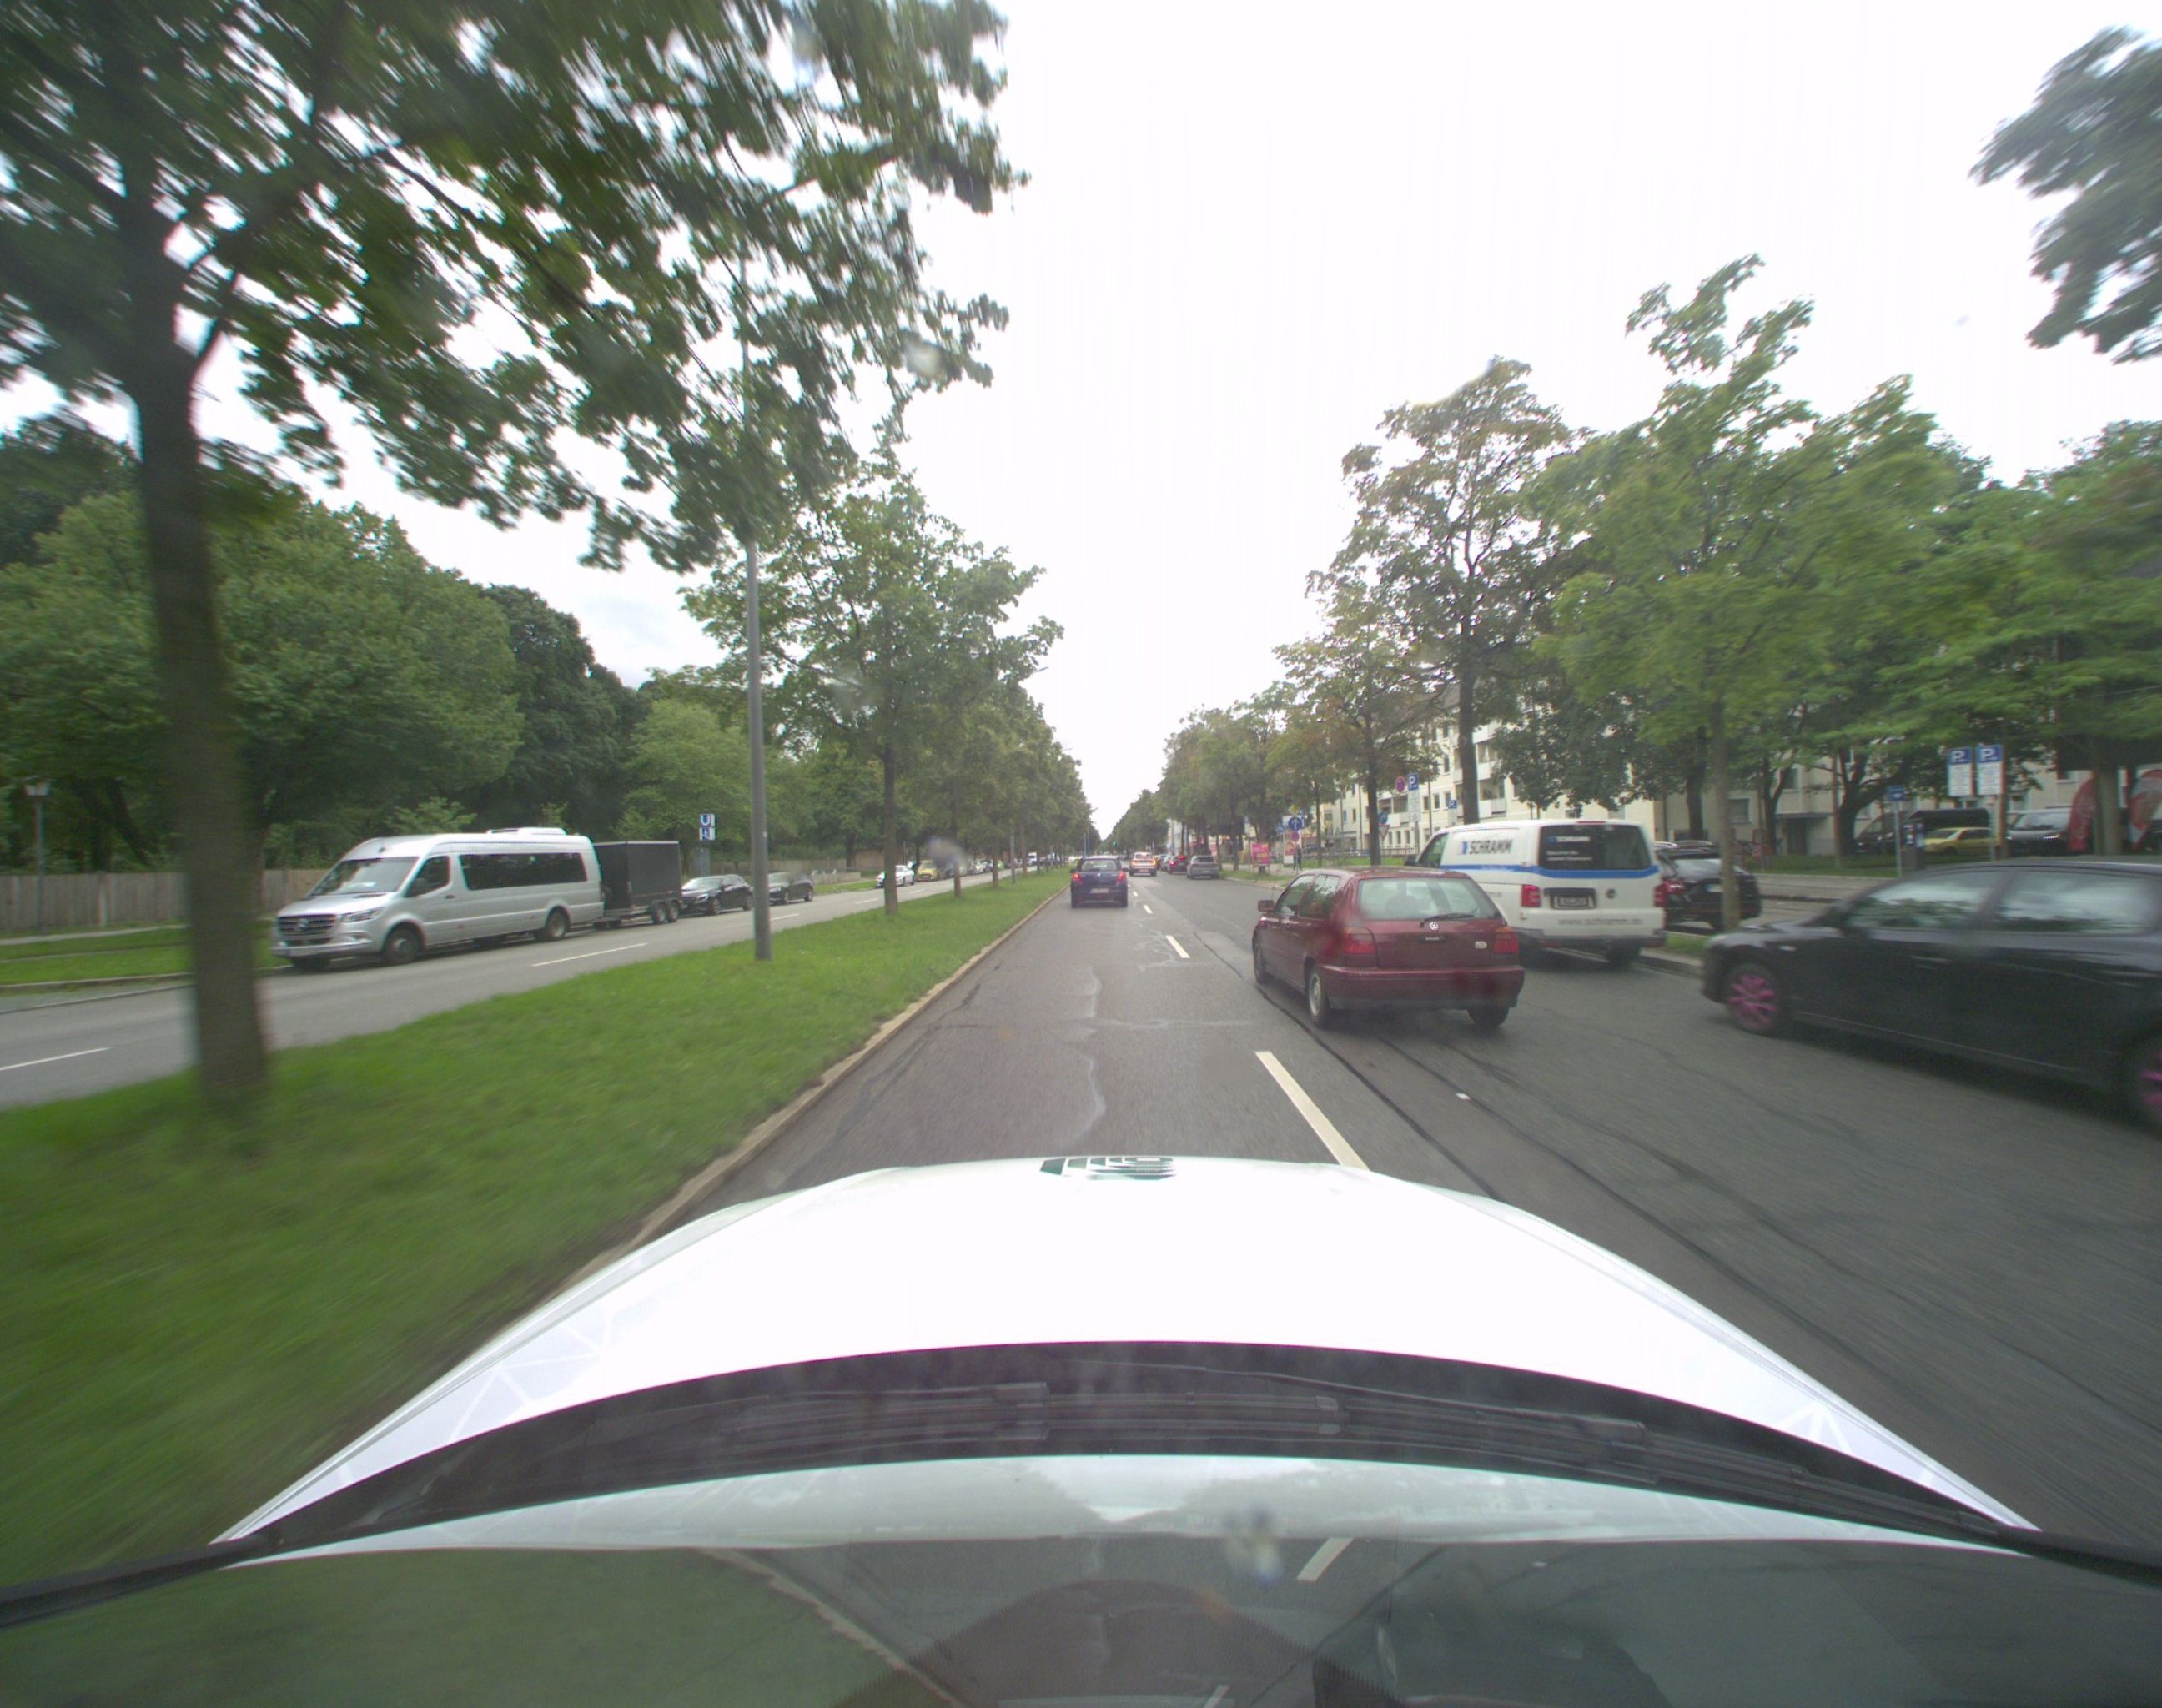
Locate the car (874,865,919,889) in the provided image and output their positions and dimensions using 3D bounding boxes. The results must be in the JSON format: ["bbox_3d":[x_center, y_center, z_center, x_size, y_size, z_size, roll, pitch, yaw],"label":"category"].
[{"bbox_3d":[-12.991,1.570,57.617,1.850,1.472,4.876,-3,0,1],"label":"car"}]

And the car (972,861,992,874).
[{"bbox_3d":[-11.785,1.612,97.227,1.584,1.397,3.633,-3,0,3],"label":"car"}]

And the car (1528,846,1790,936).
[{"bbox_3d":[10.586,0.600,15.452,1.721,1.432,4.693,0,0,1],"label":"car"}]

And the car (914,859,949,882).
[{"bbox_3d":[-12.512,1.343,68.414,1.807,1.783,4.821,-3,0,3],"label":"car"}]

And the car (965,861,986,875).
[{"bbox_3d":[-11.911,1.590,92.168,1.601,1.444,4.281,-3,0,2],"label":"car"}]

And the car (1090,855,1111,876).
[{"bbox_3d":[1.431,0.856,60.557,1.439,1.483,3.106,-1,0,1],"label":"car"}]

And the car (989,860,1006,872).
[{"bbox_3d":[-11.412,1.611,111.348,1.541,1.409,3.883,-3,0,4],"label":"car"}]

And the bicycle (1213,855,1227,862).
[{"bbox_3d":[20.494,0.651,120.069,1.841,0.957,0.557,-1,-1,0],"label":"bicycle"}]

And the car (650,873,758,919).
[{"bbox_3d":[-13.750,1.492,30.011,1.793,1.384,4.240,-3,0,2],"label":"car"}]

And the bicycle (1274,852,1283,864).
[{"bbox_3d":[18.673,0.363,76.931,0.429,1.028,1.885,-3,0,3],"label":"bicycle"}]

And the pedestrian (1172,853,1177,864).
[{"bbox_3d":[17.518,0.857,152.861,0.791,2.013,1.006,-2,0,2],"label":"pedestrian"}]

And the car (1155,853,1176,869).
[{"bbox_3d":[8.337,0.672,80.566,1.710,1.533,4.277,0,0,2],"label":"car"}]

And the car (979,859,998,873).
[{"bbox_3d":[-11.655,1.498,103.016,1.685,1.586,4.371,-3,0,1],"label":"car"}]

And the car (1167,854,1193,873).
[{"bbox_3d":[7.761,0.722,64.115,1.743,1.465,4.179,0,0,3],"label":"car"}]

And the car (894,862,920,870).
[{"bbox_3d":[-34.297,2.394,160.519,4.673,1.445,1.673,-1,-1,2],"label":"car"}]

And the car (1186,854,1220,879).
[{"bbox_3d":[7.505,0.731,50.374,1.675,1.465,4.118,0,0,3],"label":"car"}]

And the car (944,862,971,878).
[{"bbox_3d":[-12.247,1.553,81.046,1.756,1.449,4.534,-3,0,1],"label":"car"}]

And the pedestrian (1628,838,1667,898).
[{"bbox_3d":[15.375,0.370,22.110,0.651,1.594,0.758,-2,0,20],"label":"pedestrian"}]

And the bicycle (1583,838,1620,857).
[{"bbox_3d":[28.171,-0.335,44.086,1.687,0.971,0.455,-2,0,-3],"label":"bicycle"}]

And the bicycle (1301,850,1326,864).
[{"bbox_3d":[18.379,0.234,64.328,1.874,1.028,0.432,-3,-1,-5],"label":"bicycle"}]

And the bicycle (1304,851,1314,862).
[{"bbox_3d":[21.503,0.256,76.903,0.429,1.028,1.885,-3,0,3],"label":"bicycle"}]

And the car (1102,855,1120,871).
[{"bbox_3d":[2.984,0.875,81.308,1.676,1.463,3.735,-1,0,2],"label":"car"}]

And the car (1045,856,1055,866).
[{"bbox_3d":[-6.257,1.476,165.197,1.793,1.934,4.994,-3,-1,1],"label":"car"}]

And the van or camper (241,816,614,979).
[{"bbox_3d":[-13.950,0.786,18.459,2.027,2.837,7.550,-3,0,2],"label":"van or camper"}]

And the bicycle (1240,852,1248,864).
[{"bbox_3d":[15.670,0.371,78.433,0.429,1.133,1.885,-3,0,3],"label":"bicycle"}]

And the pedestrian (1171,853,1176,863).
[{"bbox_3d":[17.363,0.752,152.413,0.791,2.013,1.006,-2,0,2],"label":"pedestrian"}]

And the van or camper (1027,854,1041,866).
[{"bbox_3d":[-9.701,1.278,170.149,2.108,2.482,7.453,-1,-1,3],"label":"van or camper"}]

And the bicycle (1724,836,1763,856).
[{"bbox_3d":[34.959,-0.403,42.989,1.687,0.971,0.455,-2,0,-3],"label":"bicycle"}]

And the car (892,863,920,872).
[{"bbox_3d":[-27.360,2.107,127.335,4.363,1.201,1.683,-1,-1,33],"label":"car"}]

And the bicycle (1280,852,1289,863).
[{"bbox_3d":[19.219,0.331,76.907,0.429,1.028,1.885,-3,0,3],"label":"bicycle"}]

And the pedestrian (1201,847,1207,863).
[{"bbox_3d":[14.845,0.084,98.349,0.586,1.890,0.902,-2,-1,0],"label":"pedestrian"}]

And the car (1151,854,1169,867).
[{"bbox_3d":[8.801,0.716,90.840,1.676,1.465,4.138,1,0,1],"label":"car"}]

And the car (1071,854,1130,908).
[{"bbox_3d":[0.582,0.772,25.251,1.676,1.502,3.919,-1,0,1],"label":"car"}]

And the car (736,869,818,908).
[{"bbox_3d":[-13.387,1.468,36.136,1.793,1.425,4.433,-3,0,2],"label":"car"}]

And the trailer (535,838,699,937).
[{"bbox_3d":[-13.737,0.906,24.513,2.009,2.590,4.660,-3,0,2],"label":"trailer"}]

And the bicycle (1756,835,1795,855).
[{"bbox_3d":[36.725,-0.486,43.086,1.687,0.971,0.455,-2,0,-3],"label":"bicycle"}]

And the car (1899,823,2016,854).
[{"bbox_3d":[40.181,-0.708,37.390,3.728,1.201,1.585,-3,1,-2],"label":"car"}]

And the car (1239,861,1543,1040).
[{"bbox_3d":[2.828,0.772,8.387,1.676,1.384,3.919,0,0,1],"label":"car"}]

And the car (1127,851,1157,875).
[{"bbox_3d":[4.376,0.630,59.120,1.859,1.661,4.407,0,0,1],"label":"car"}]

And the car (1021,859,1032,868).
[{"bbox_3d":[-10.092,1.774,150.624,1.627,1.741,3.879,-1,-1,1],"label":"car"}]

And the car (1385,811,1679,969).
[{"bbox_3d":[6.455,0.437,12.458,1.874,1.927,4.935,0,0,2],"label":"car"}]

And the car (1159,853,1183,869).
[{"bbox_3d":[8.200,0.640,74.532,1.631,1.386,4.242,0,0,-1],"label":"car"}]

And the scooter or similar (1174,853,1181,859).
[{"bbox_3d":[18.932,0.386,159.573,1.029,1.307,2.757,-2,0,2],"label":"scooter or similar"}]

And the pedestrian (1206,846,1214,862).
[{"bbox_3d":[15.541,0.041,98.364,0.727,1.890,0.919,-2,-1,0],"label":"pedestrian"}]

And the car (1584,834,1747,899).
[{"bbox_3d":[16.579,0.331,23.389,1.814,1.634,4.202,-3,0,4],"label":"car"}]

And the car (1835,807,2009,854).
[{"bbox_3d":[41.503,-1.112,40.327,6.069,1.999,2.346,-3,0,1],"label":"car"}]

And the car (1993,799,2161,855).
[{"bbox_3d":[42.741,-1.141,34.828,6.098,2.053,2.335,-3,0,-13],"label":"car"}]

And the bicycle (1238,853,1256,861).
[{"bbox_3d":[18.320,0.343,89.762,1.869,0.940,0.558,-1,-1,2],"label":"bicycle"}]

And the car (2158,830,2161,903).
[{"bbox_3d":[16.155,0.378,9.267,1.814,1.531,4.606,-3,0,3],"label":"car"}]

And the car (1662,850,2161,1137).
[{"bbox_3d":[6.301,0.704,5.617,1.691,1.448,4.041,0,0,0],"label":"car"}]

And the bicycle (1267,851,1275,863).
[{"bbox_3d":[17.974,0.295,77.039,0.429,1.101,1.885,-3,0,3],"label":"bicycle"}]

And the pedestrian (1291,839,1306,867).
[{"bbox_3d":[13.619,-0.049,50.938,0.643,1.730,0.595,0,-1,-30],"label":"pedestrian"}]

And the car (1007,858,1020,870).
[{"bbox_3d":[-10.699,1.587,128.796,1.710,1.741,3.879,-1,-1,1],"label":"car"}]
